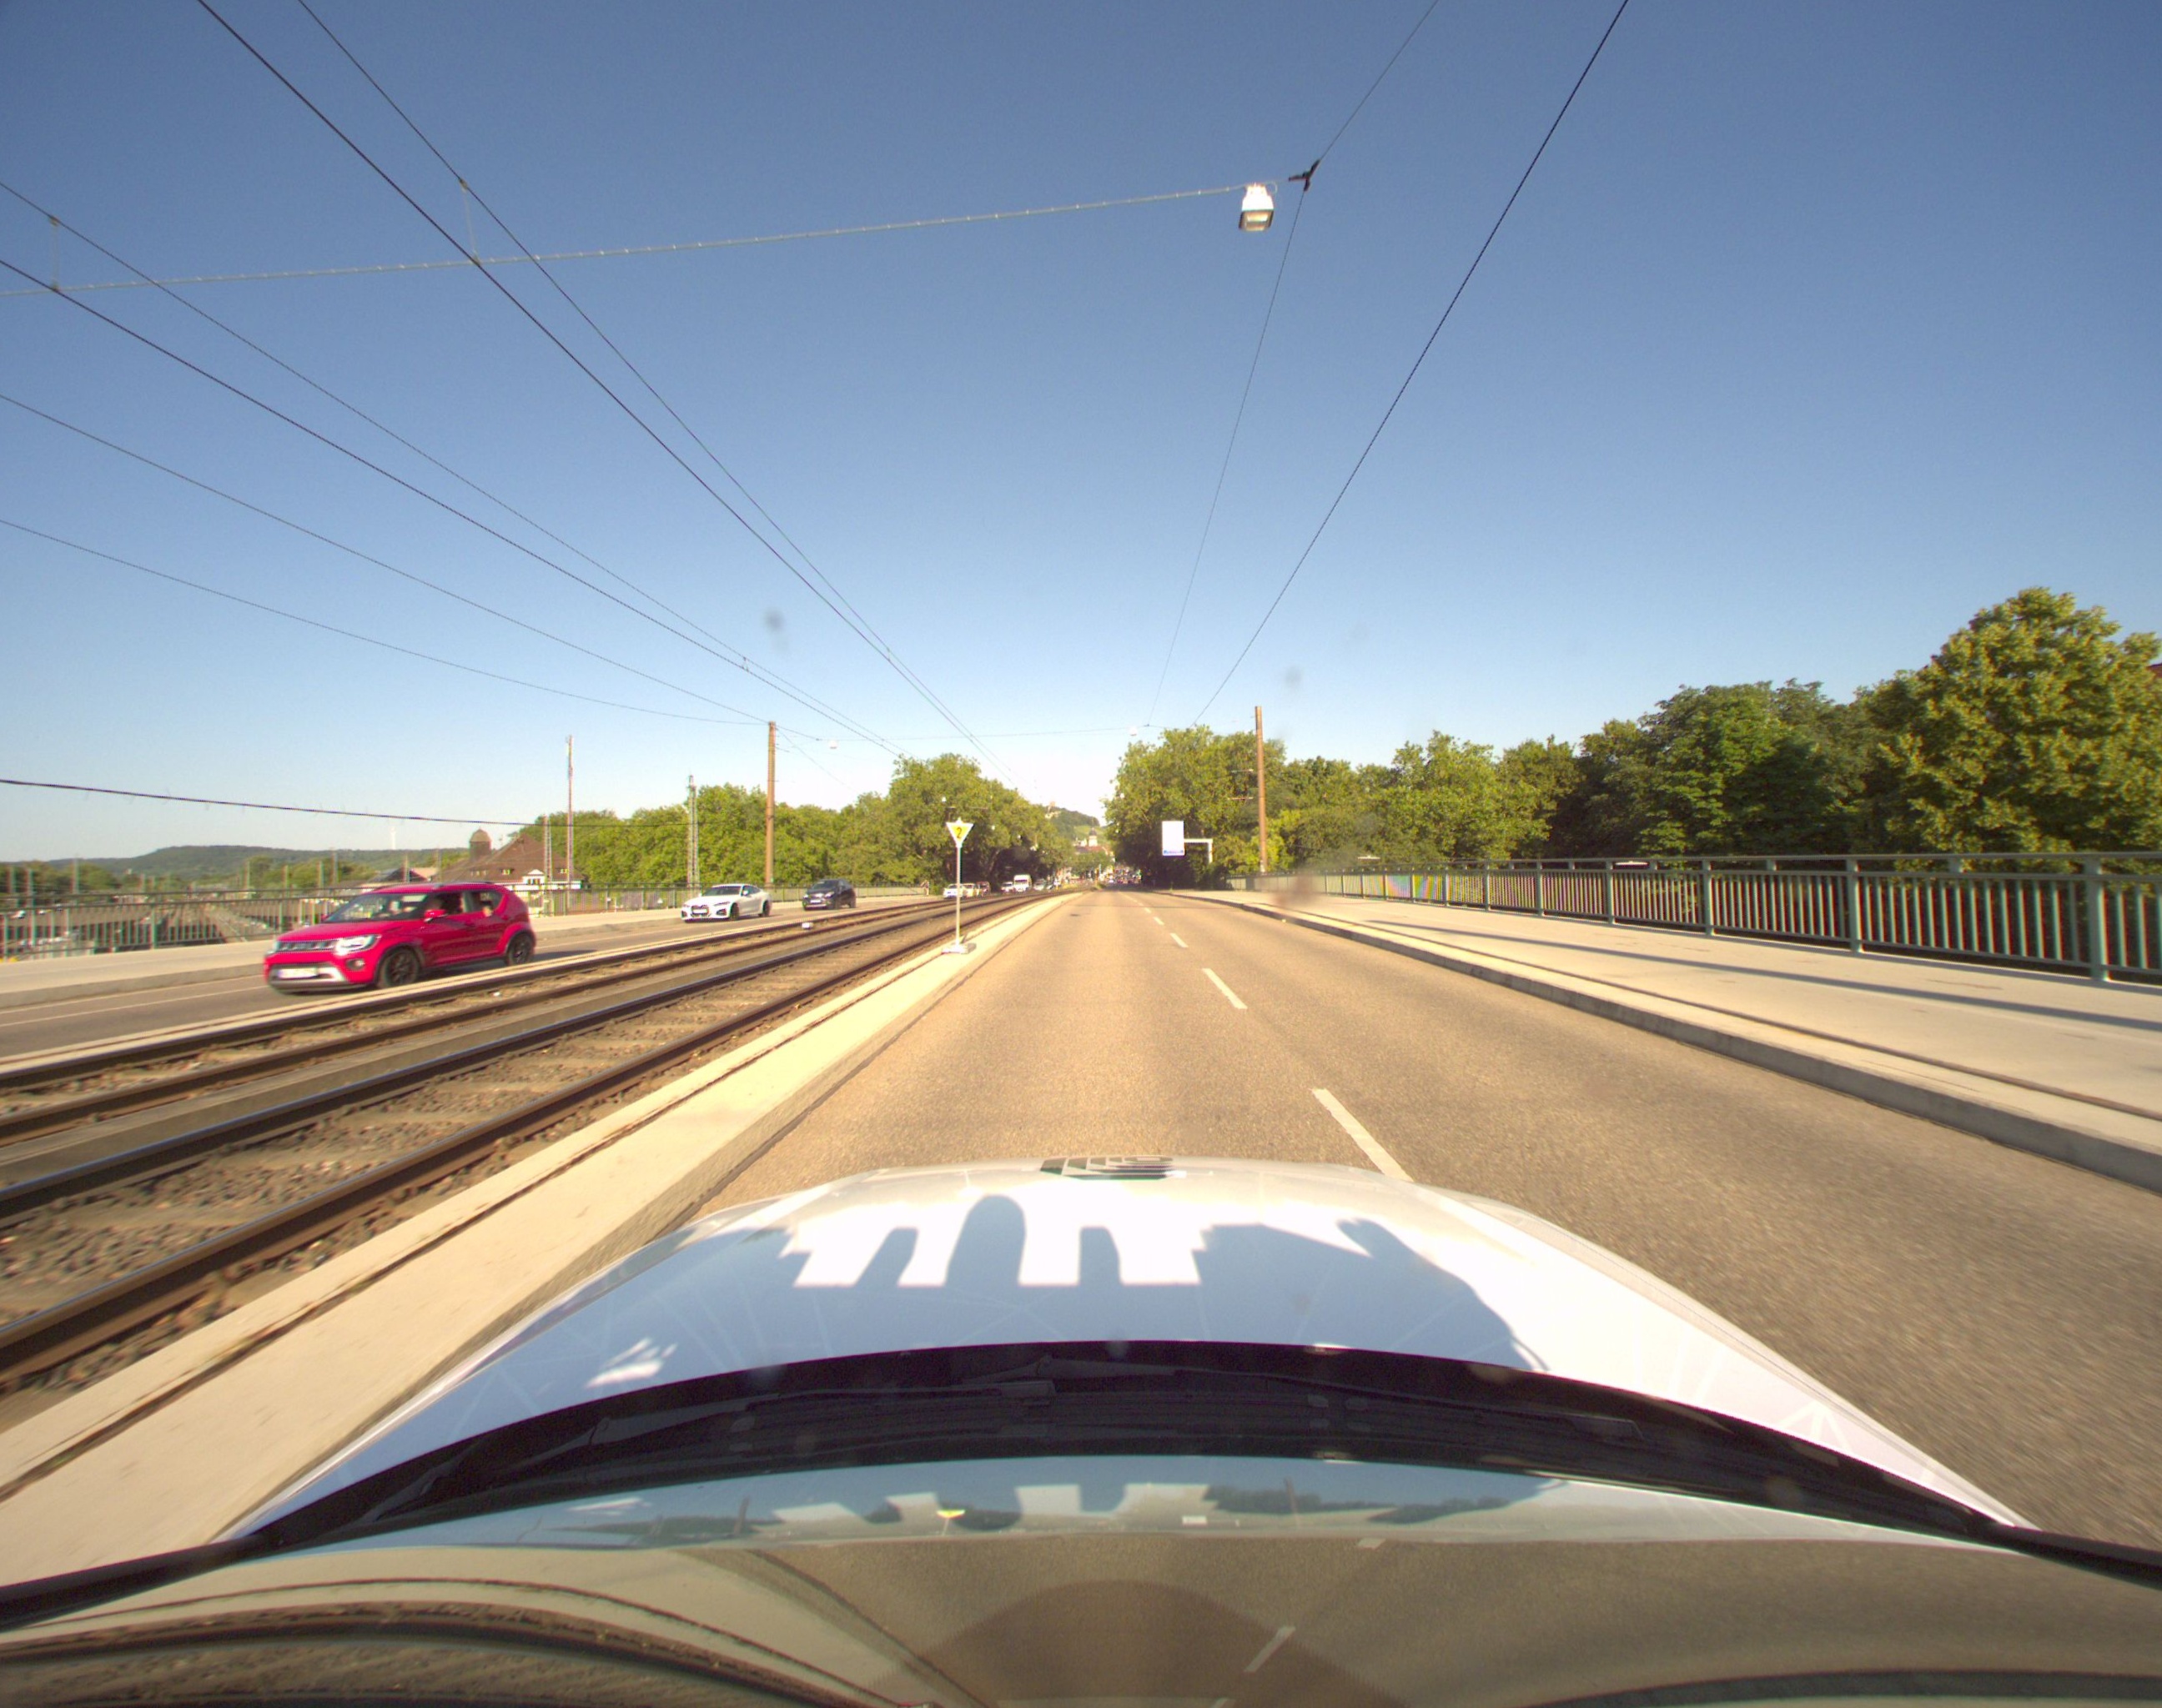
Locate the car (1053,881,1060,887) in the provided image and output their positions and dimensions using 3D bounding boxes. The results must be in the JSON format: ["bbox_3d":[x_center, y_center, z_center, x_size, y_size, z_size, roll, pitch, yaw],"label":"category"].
[{"bbox_3d":[-6.833,8.419,228.759,1.988,1.845,5.298,0,-2,-1],"label":"car"}]

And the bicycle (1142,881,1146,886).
[{"bbox_3d":[14.618,6.857,189.131,0.883,1.321,2.640,-2,-2,2],"label":"bicycle"}]

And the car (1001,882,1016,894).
[{"bbox_3d":[-11.001,5.173,124.264,1.736,1.743,4.512,-5,-2,-1],"label":"car"}]

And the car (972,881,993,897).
[{"bbox_3d":[-11.577,4.078,96.169,1.735,1.754,4.684,-1,-2,1],"label":"car"}]

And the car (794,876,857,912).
[{"bbox_3d":[-13.335,2.056,42.743,1.773,1.650,4.448,-1,0,2],"label":"car"}]

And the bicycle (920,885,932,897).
[{"bbox_3d":[-15.074,3.629,79.449,0.677,1.098,2.101,1,-2,2],"label":"bicycle"}]

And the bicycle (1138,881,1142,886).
[{"bbox_3d":[14.224,7.163,196.659,0.884,1.321,2.638,-2,-2,-1],"label":"bicycle"}]

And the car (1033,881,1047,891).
[{"bbox_3d":[-7.218,5.607,142.623,1.866,1.665,4.599,-5,-2,2],"label":"car"}]

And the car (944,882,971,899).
[{"bbox_3d":[-12.019,3.550,79.554,1.736,1.464,4.955,-1,-2,1],"label":"car"}]

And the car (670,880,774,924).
[{"bbox_3d":[-13.540,1.763,31.070,1.678,1.356,4.921,-1,0,2],"label":"car"}]

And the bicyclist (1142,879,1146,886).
[{"bbox_3d":[14.610,6.602,189.095,0.883,1.639,1.164,-2,-2,2],"label":"bicyclist"}]

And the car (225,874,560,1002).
[{"bbox_3d":[-10.609,1.194,13.026,1.801,1.519,4.002,-3,0,2],"label":"car"}]

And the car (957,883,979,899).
[{"bbox_3d":[-11.854,3.832,85.413,1.627,1.531,3.791,-1,-2,2],"label":"car"}]

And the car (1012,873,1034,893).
[{"bbox_3d":[-7.792,3.914,110.351,2.078,2.593,6.044,-3,-2,3],"label":"car"}]

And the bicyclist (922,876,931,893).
[{"bbox_3d":[-15.063,2.956,79.555,0.677,1.627,0.890,1,-2,2],"label":"bicyclist"}]

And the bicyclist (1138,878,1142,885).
[{"bbox_3d":[14.219,6.602,196.687,0.884,1.775,1.221,-2,-2,-1],"label":"bicyclist"}]
